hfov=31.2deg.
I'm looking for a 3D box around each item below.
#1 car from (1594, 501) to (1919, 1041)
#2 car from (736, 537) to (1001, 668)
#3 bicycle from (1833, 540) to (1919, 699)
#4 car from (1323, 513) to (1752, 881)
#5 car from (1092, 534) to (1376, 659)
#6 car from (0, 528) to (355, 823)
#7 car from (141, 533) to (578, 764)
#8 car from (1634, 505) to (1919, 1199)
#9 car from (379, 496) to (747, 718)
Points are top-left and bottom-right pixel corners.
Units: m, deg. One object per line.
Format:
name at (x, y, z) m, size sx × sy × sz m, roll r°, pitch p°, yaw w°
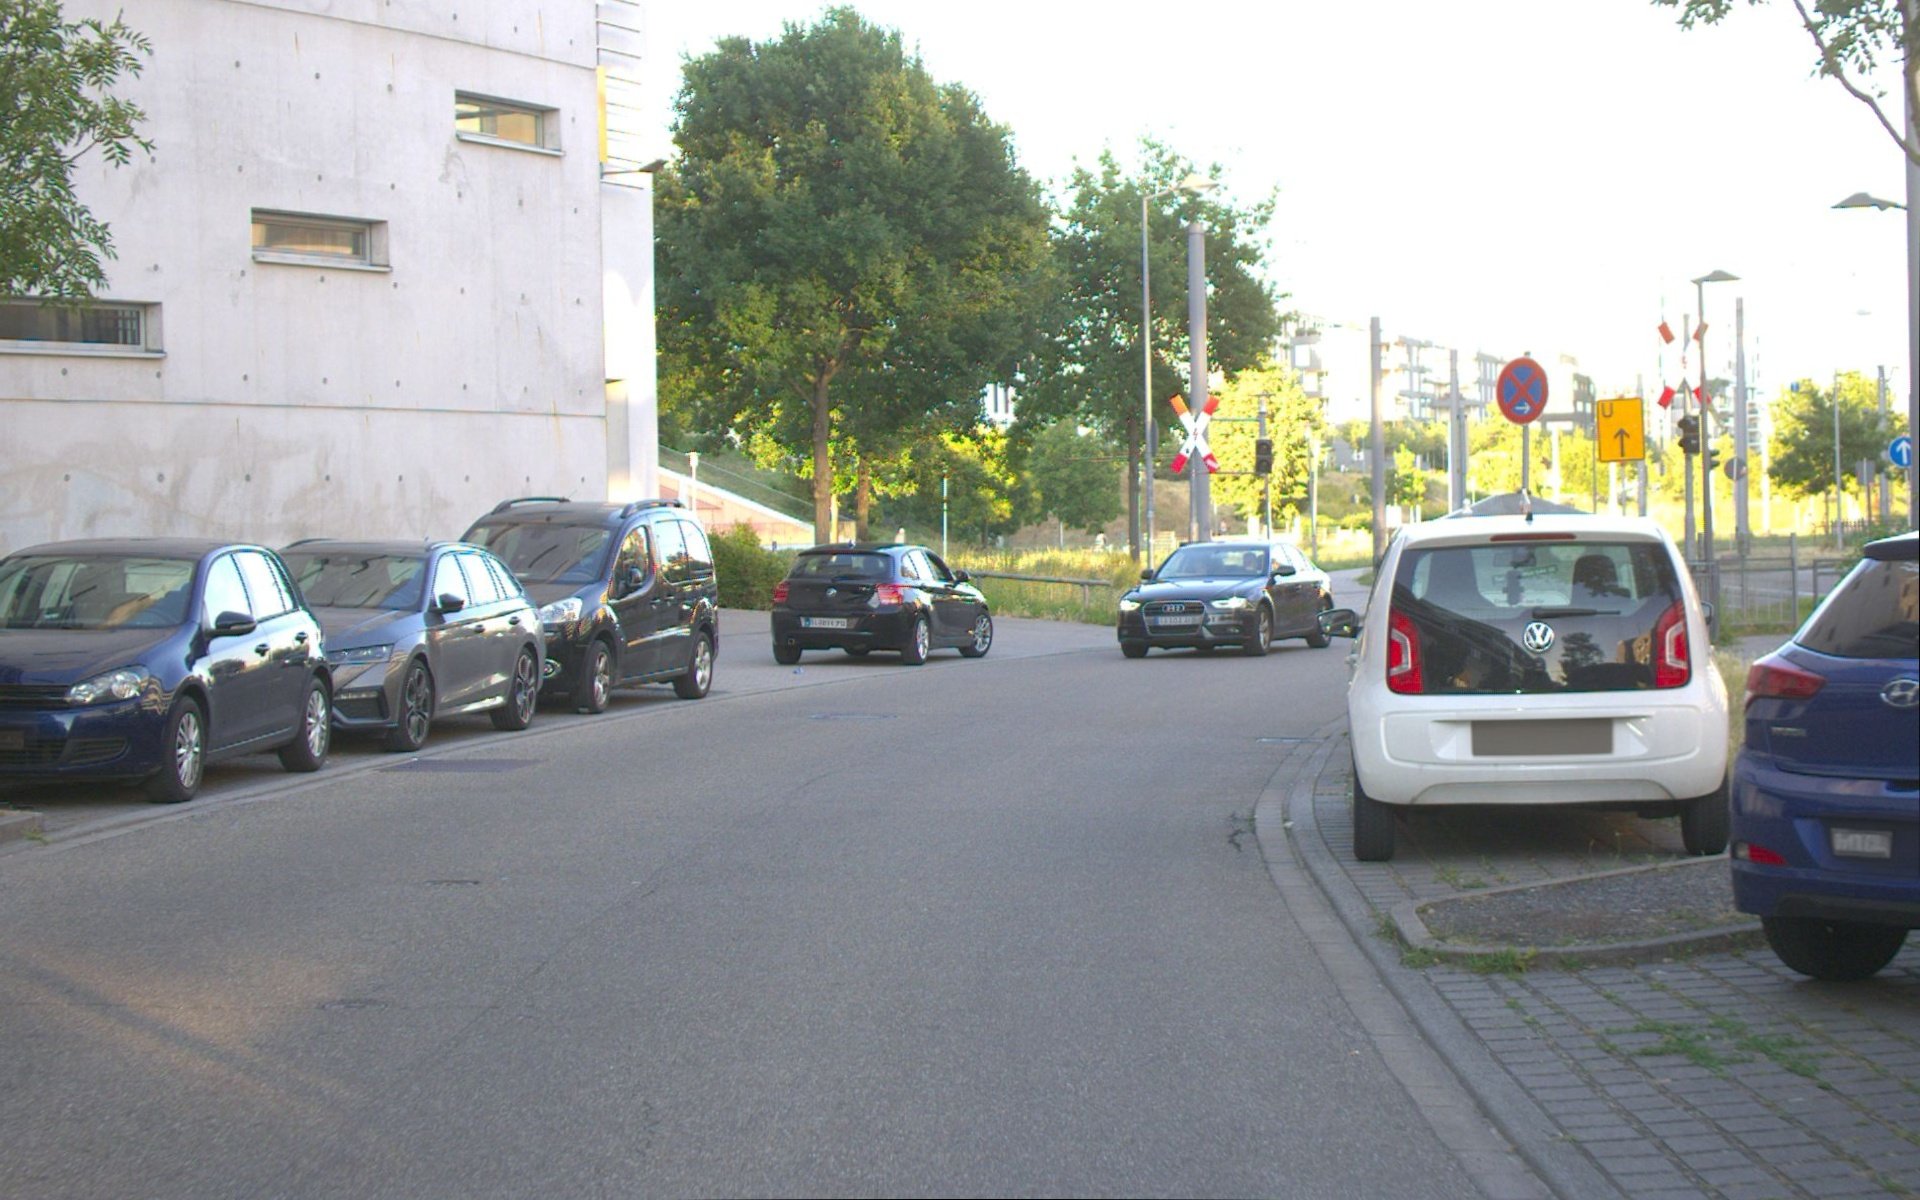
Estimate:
car at (4.004, 0.454, 11.066) m, size 3.742 × 1.504 × 1.688 m, roll -1°, pitch 2°, yaw -35°
car at (-1.022, -0.013, 41.027) m, size 1.945 × 1.378 × 4.396 m, roll 2°, pitch 2°, yaw 15°
bicycle at (6.822, 0.119, 24.639) m, size 0.763 × 1.078 × 1.689 m, roll -1°, pitch 1°, yaw 3°
car at (2.597, 0.363, 15.997) m, size 1.723 × 1.462 × 3.552 m, roll -1°, pitch 2°, yaw 7°
car at (3.472, -0.083, 42.806) m, size 1.781 × 1.417 × 4.508 m, roll 0°, pitch 2°, yaw 30°
car at (-4.971, 0.350, 20.163) m, size 1.723 × 1.452 × 4.271 m, roll 1°, pitch 2°, yaw 5°
car at (-4.303, 0.275, 25.418) m, size 1.723 × 1.452 × 4.692 m, roll 1°, pitch 2°, yaw 9°
car at (3.672, 0.480, 7.621) m, size 3.920 × 1.504 × 1.957 m, roll -4°, pitch 2°, yaw -31°
car at (-3.433, -0.011, 30.622) m, size 1.758 × 1.792 × 4.460 m, roll 2°, pitch 2°, yaw 14°
